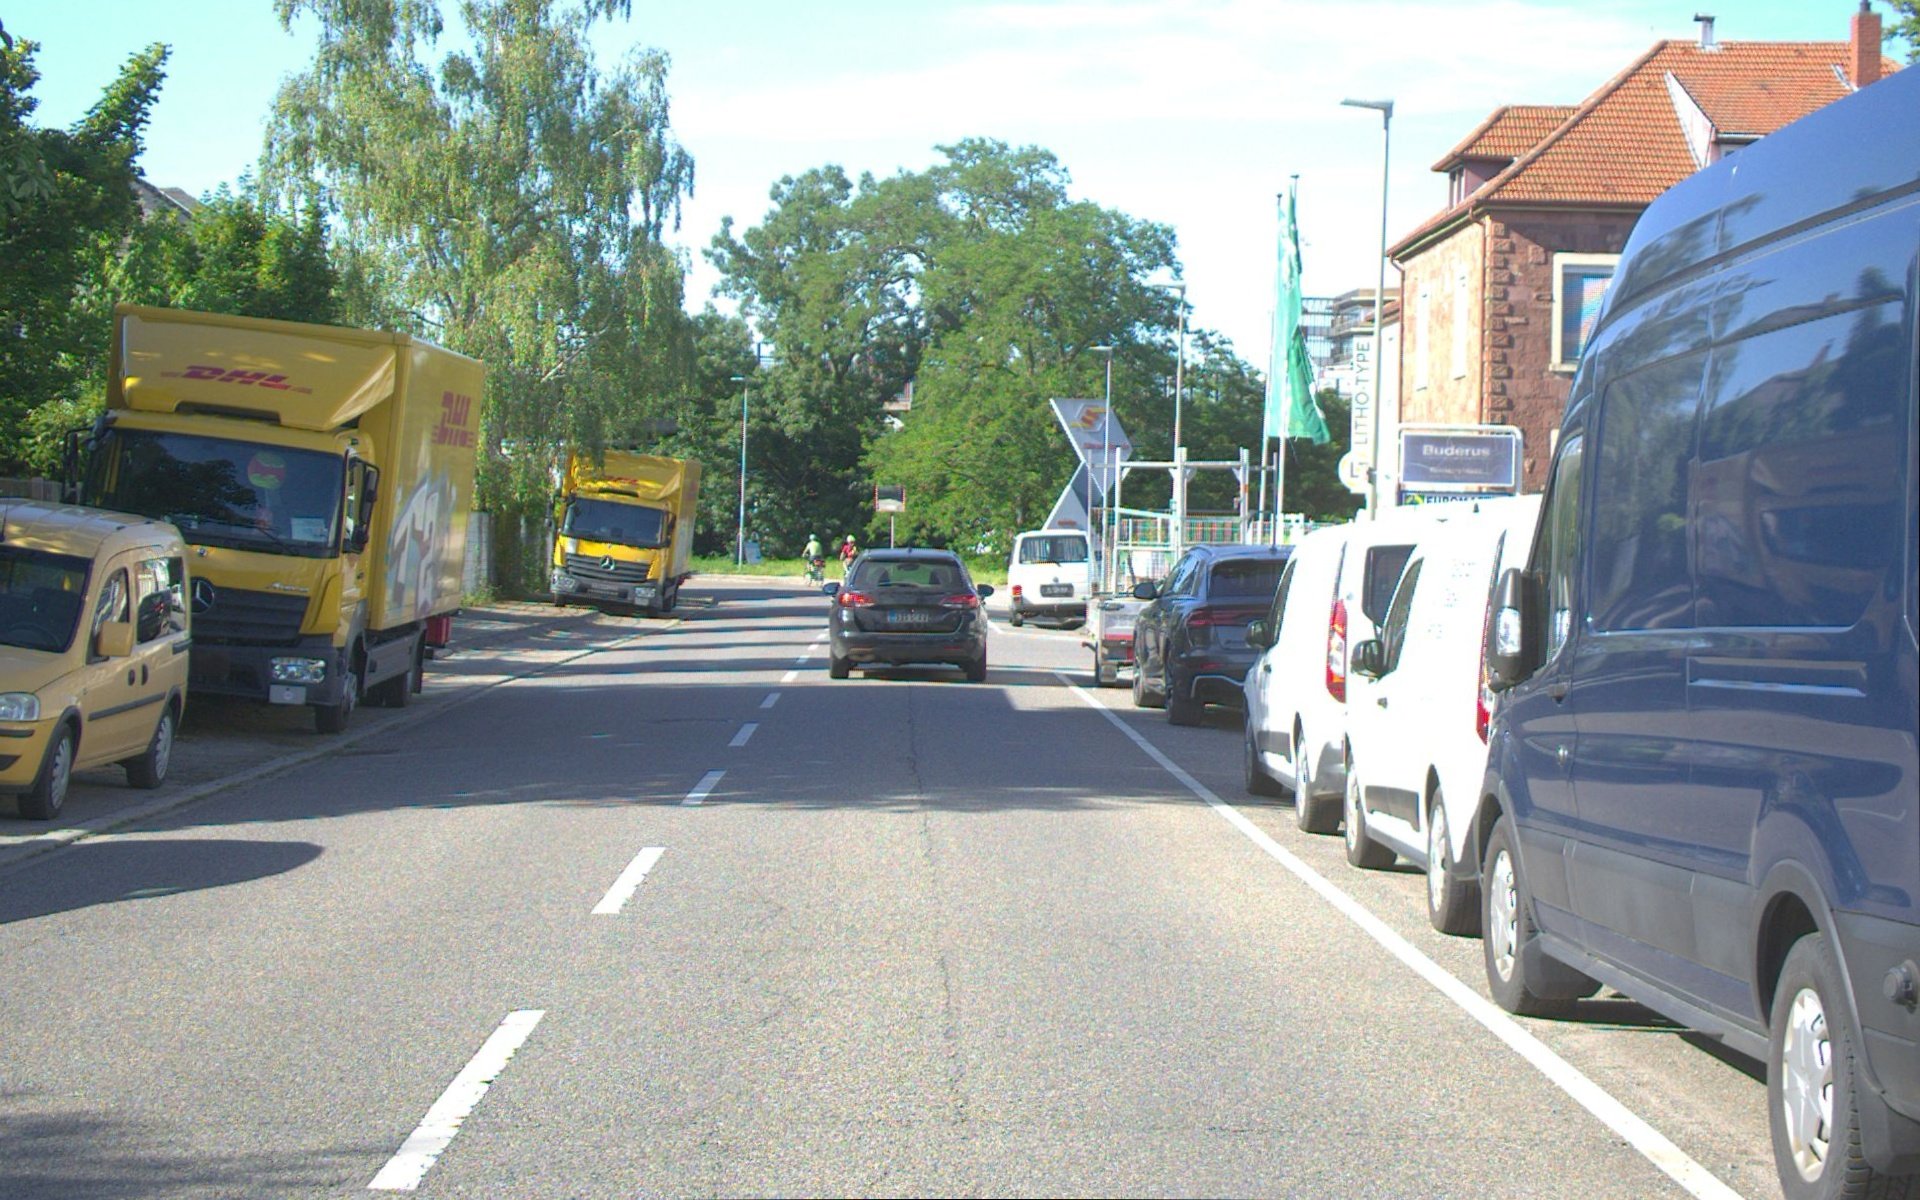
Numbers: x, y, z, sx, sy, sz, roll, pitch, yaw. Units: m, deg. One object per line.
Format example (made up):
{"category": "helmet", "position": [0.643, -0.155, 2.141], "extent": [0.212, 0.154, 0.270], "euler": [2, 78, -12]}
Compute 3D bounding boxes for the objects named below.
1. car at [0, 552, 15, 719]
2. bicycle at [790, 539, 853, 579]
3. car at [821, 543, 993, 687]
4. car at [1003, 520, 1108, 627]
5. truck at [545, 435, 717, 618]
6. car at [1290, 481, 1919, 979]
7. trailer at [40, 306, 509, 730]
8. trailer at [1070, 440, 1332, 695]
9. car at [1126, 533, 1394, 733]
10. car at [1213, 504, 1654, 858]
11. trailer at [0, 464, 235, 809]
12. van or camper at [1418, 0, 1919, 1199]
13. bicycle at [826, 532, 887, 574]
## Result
{"category": "car", "position": [-6.000, 0.493, 15.599], "extent": [1.908, 1.587, 5.025], "euler": [5, 1, 0]}
{"category": "bicycle", "position": [-4.575, -1.347, 113.331], "extent": [0.804, 1.217, 2.258], "euler": [2, 1, -40]}
{"category": "car", "position": [-0.579, 0.125, 39.338], "extent": [1.847, 1.525, 4.000], "euler": [1, 1, 0]}
{"category": "car", "position": [1.904, -0.540, 69.961], "extent": [1.874, 2.007, 5.160], "euler": [3, 0, 0]}
{"category": "truck", "position": [-7.170, -1.685, 76.007], "extent": [2.631, 3.493, 8.657], "euler": [7, 2, -1]}
{"category": "car", "position": [2.787, 0.481, 15.886], "extent": [1.886, 1.840, 5.104], "euler": [3, 0, -1]}
{"category": "trailer", "position": [-6.184, -0.733, 32.419], "extent": [2.991, 3.431, 8.162], "euler": [1, 1, -2]}
{"category": "trailer", "position": [2.648, -0.386, 39.358], "extent": [2.460, 2.663, 5.702], "euler": [1, 1, -1]}
{"category": "car", "position": [2.744, 0.268, 32.490], "extent": [1.994, 1.661, 4.731], "euler": [3, 0, -1]}
{"category": "car", "position": [2.743, 0.412, 21.129], "extent": [1.855, 1.824, 5.168], "euler": [3, 0, -1]}
{"category": "trailer", "position": [-5.990, 0.168, 21.522], "extent": [1.993, 1.935, 4.415], "euler": [1, 1, -1]}
{"category": "van or camper", "position": [2.899, 0.103, 9.888], "extent": [2.141, 2.750, 6.161], "euler": [3, 0, -1]}
{"category": "bicycle", "position": [-3.314, -1.502, 109.949], "extent": [0.803, 1.263, 2.258], "euler": [3, 1, -35]}
